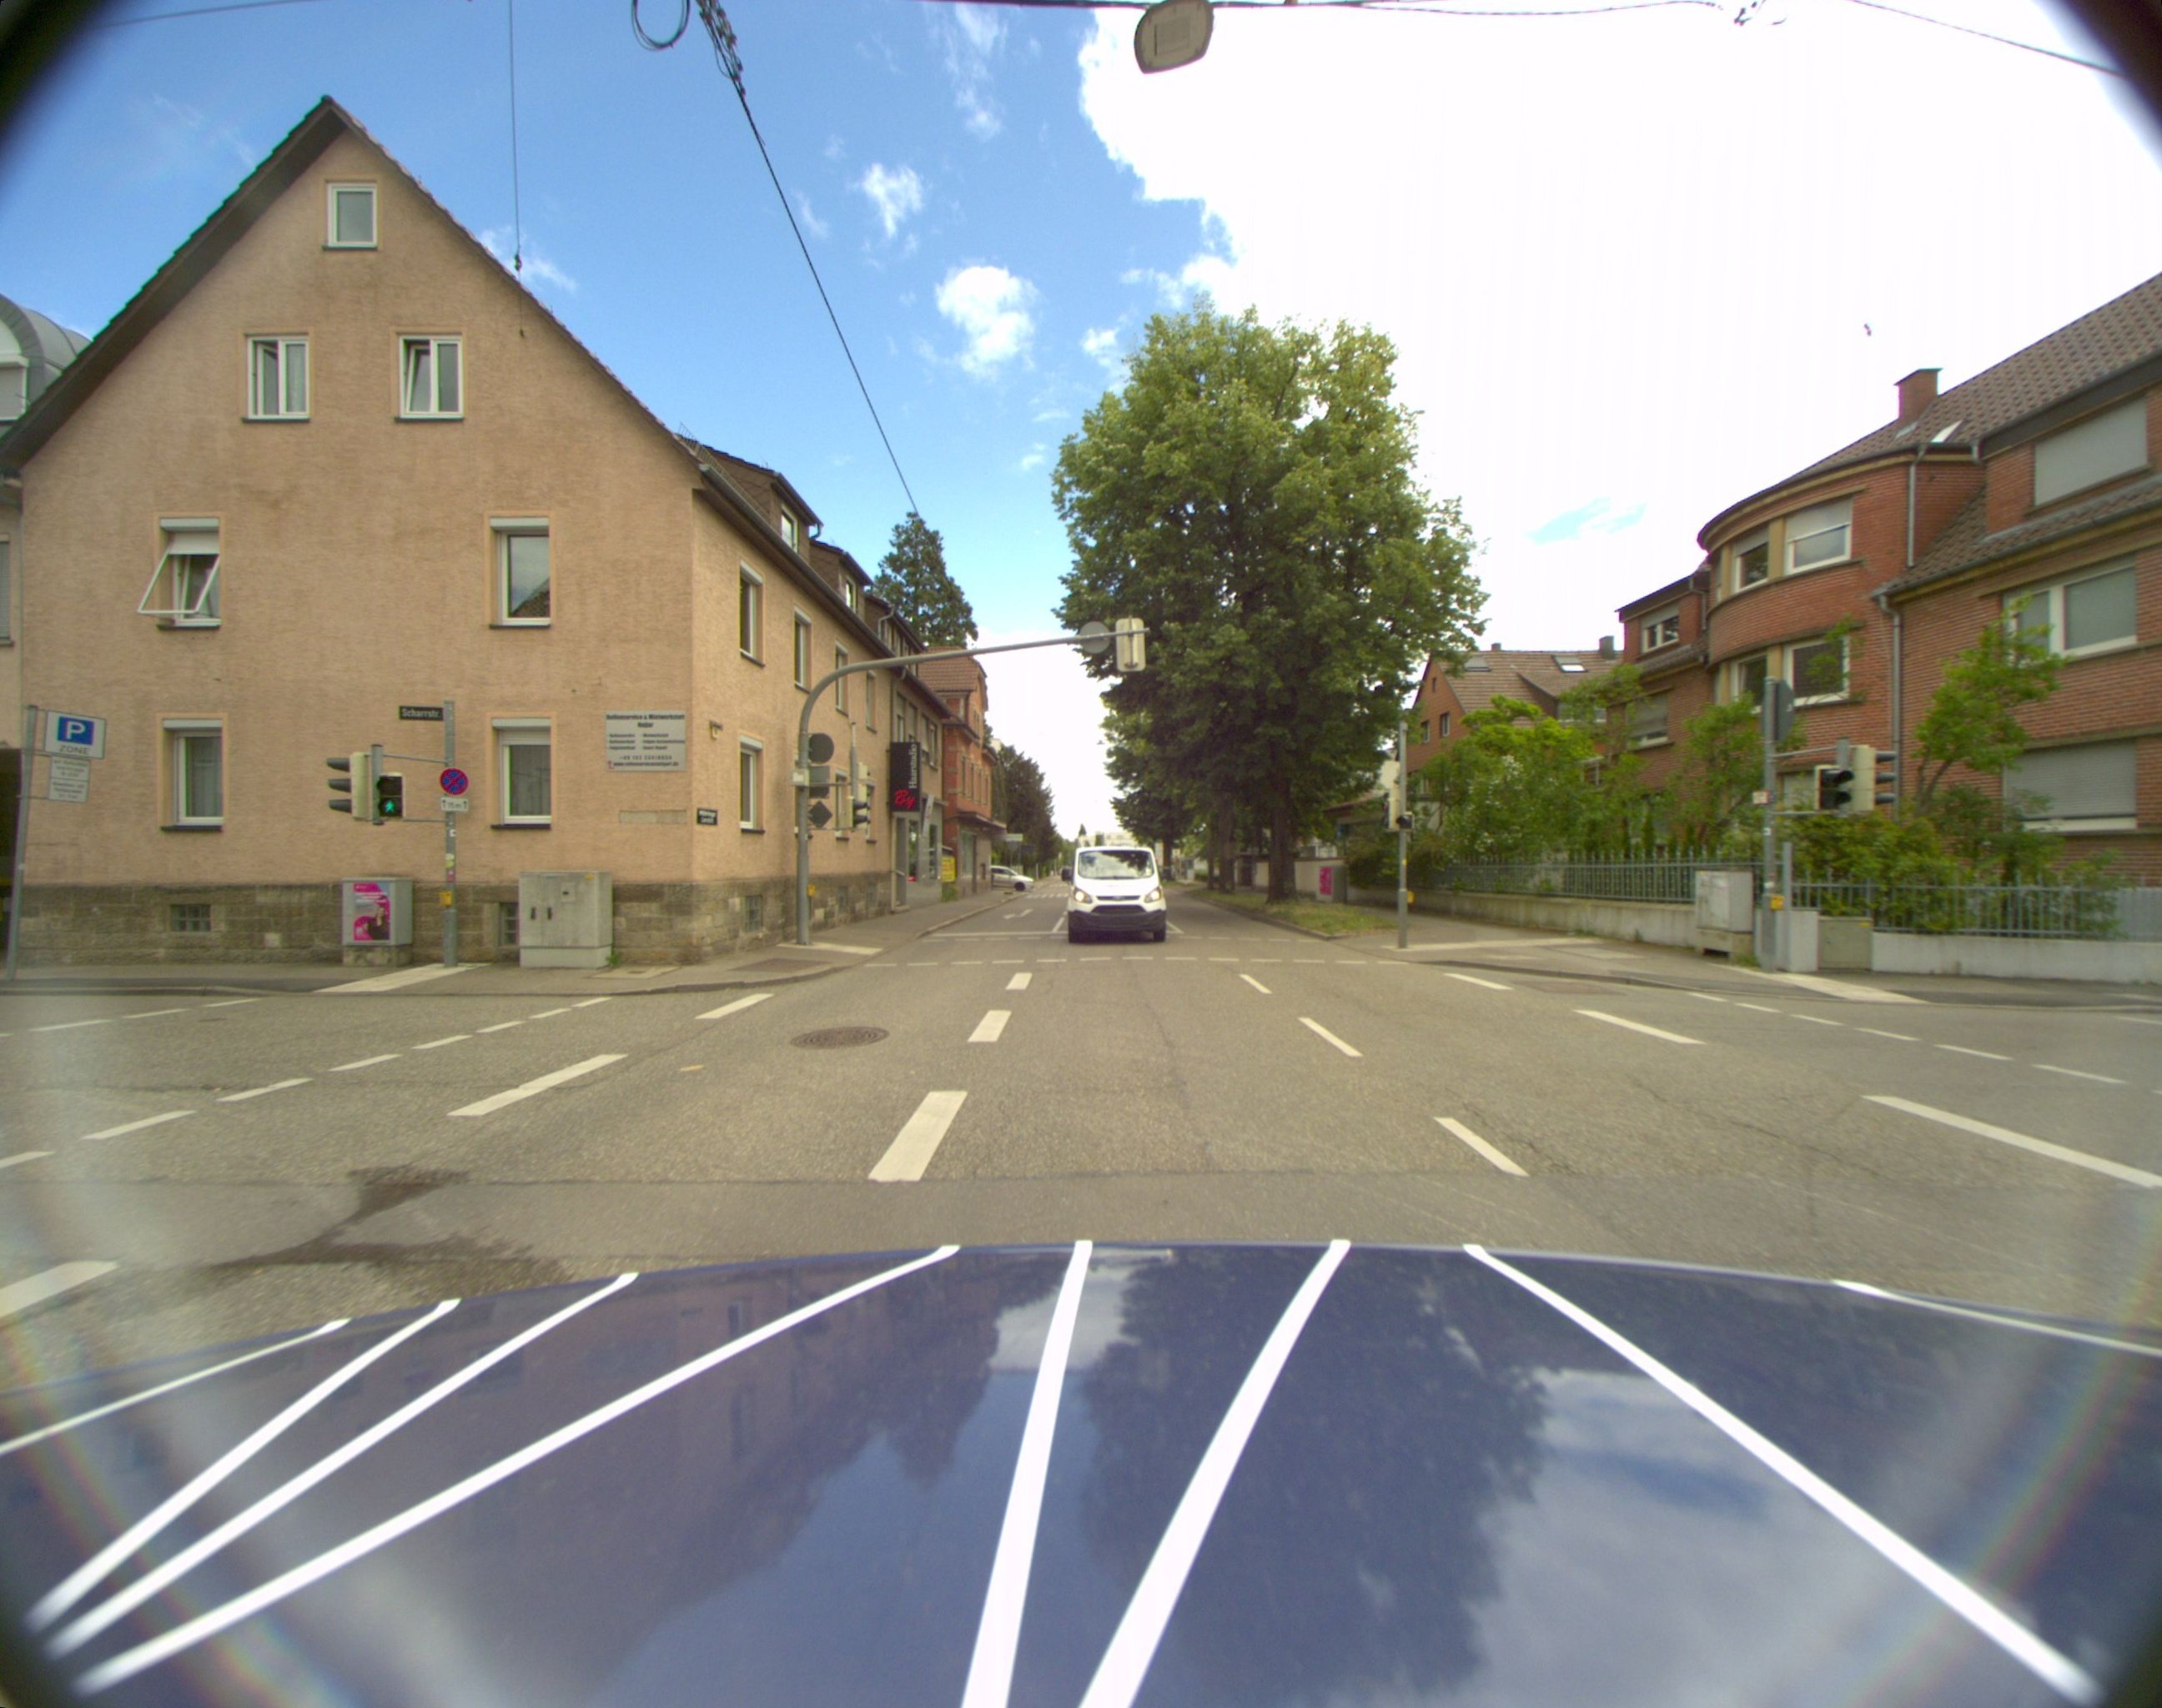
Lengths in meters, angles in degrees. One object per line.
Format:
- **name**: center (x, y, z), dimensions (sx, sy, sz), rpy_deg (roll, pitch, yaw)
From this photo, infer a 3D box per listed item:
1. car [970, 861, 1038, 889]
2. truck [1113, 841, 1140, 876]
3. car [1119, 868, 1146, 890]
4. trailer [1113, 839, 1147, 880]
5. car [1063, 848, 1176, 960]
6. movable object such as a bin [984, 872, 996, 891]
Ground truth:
- **car**: center (-4.860, 1.333, 48.176), dimensions (4.039, 1.462, 1.601), rpy_deg (4, 0, -1)
- **truck**: center (5.190, 0.534, 87.495), dimensions (2.850, 3.760, 7.670), rpy_deg (-1, 0, 2)
- **car**: center (3.811, 1.850, 57.018), dimensions (1.771, 1.461, 4.227), rpy_deg (3, 0, 2)
- **trailer**: center (4.959, 0.529, 78.966), dimensions (2.865, 3.785, 14.392), rpy_deg (-1, 0, 1)
- **car**: center (0.689, 0.894, 16.459), dimensions (1.998, 1.961, 5.715), rpy_deg (-1, 0, 0)
- **movable object such as a bin**: center (-5.342, 1.625, 44.684), dimensions (0.608, 1.094, 0.622), rpy_deg (2, 0, 1)
